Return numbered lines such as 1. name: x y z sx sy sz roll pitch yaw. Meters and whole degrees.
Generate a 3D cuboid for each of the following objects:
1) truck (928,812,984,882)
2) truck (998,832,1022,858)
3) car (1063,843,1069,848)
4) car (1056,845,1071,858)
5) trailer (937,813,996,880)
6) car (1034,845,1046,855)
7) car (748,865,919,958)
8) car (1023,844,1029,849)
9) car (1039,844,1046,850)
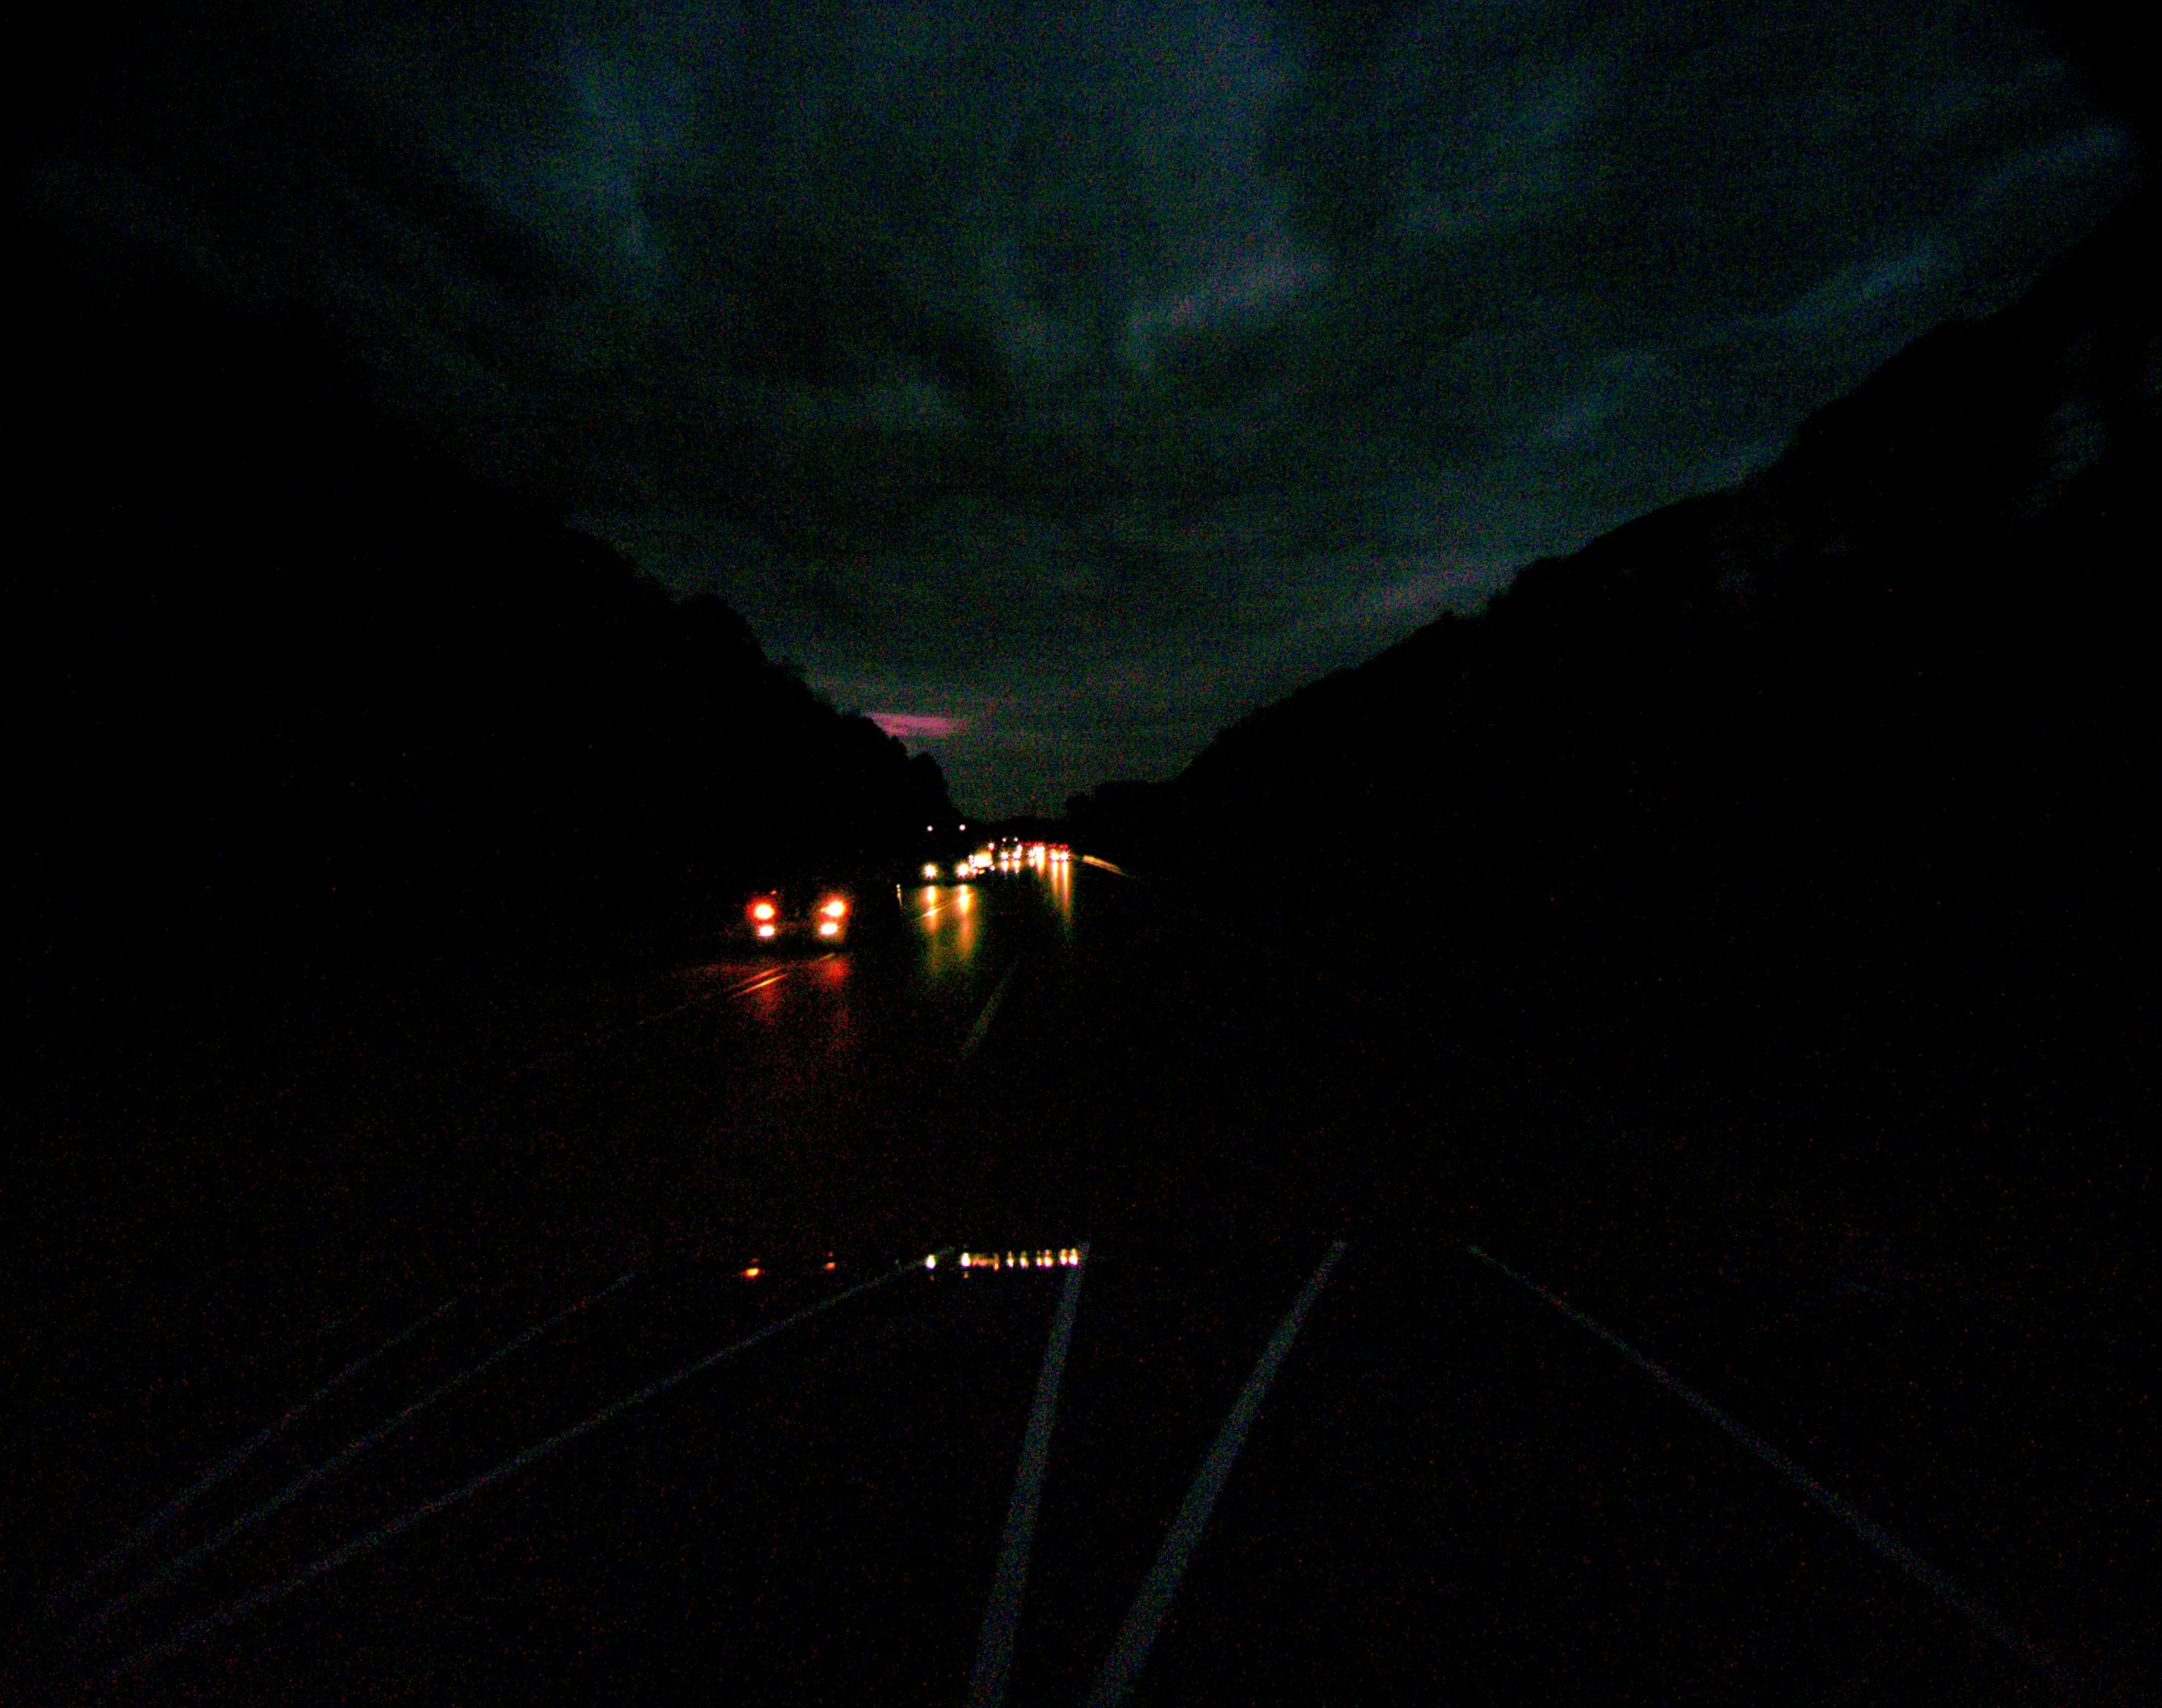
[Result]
1. truck: -7.537 -0.443 46.469 2.498 3.945 5.588 -2 2 -2
2. truck: -11.853 -1.603 128.180 3.342 3.945 13.529 -2 1 -3
3. car: -4.839 -2.796 245.975 1.602 1.481 4.227 -3 1 -7
4. car: -2.397 -0.295 105.441 1.870 1.701 4.583 -2 0 0
5. trailer: -7.795 -0.621 53.368 2.489 4.050 13.498 -2 1 -2
6. car: -7.574 -0.730 139.700 1.924 1.706 4.940 -3 1 -4
7. car: -4.858 1.034 15.748 1.695 1.481 4.949 -2 0 2
8. car: -18.762 -2.650 259.384 1.999 1.641 3.997 -2 1 -4
9. car: -10.358 -1.952 204.878 1.696 1.481 4.946 -1 1 -4
